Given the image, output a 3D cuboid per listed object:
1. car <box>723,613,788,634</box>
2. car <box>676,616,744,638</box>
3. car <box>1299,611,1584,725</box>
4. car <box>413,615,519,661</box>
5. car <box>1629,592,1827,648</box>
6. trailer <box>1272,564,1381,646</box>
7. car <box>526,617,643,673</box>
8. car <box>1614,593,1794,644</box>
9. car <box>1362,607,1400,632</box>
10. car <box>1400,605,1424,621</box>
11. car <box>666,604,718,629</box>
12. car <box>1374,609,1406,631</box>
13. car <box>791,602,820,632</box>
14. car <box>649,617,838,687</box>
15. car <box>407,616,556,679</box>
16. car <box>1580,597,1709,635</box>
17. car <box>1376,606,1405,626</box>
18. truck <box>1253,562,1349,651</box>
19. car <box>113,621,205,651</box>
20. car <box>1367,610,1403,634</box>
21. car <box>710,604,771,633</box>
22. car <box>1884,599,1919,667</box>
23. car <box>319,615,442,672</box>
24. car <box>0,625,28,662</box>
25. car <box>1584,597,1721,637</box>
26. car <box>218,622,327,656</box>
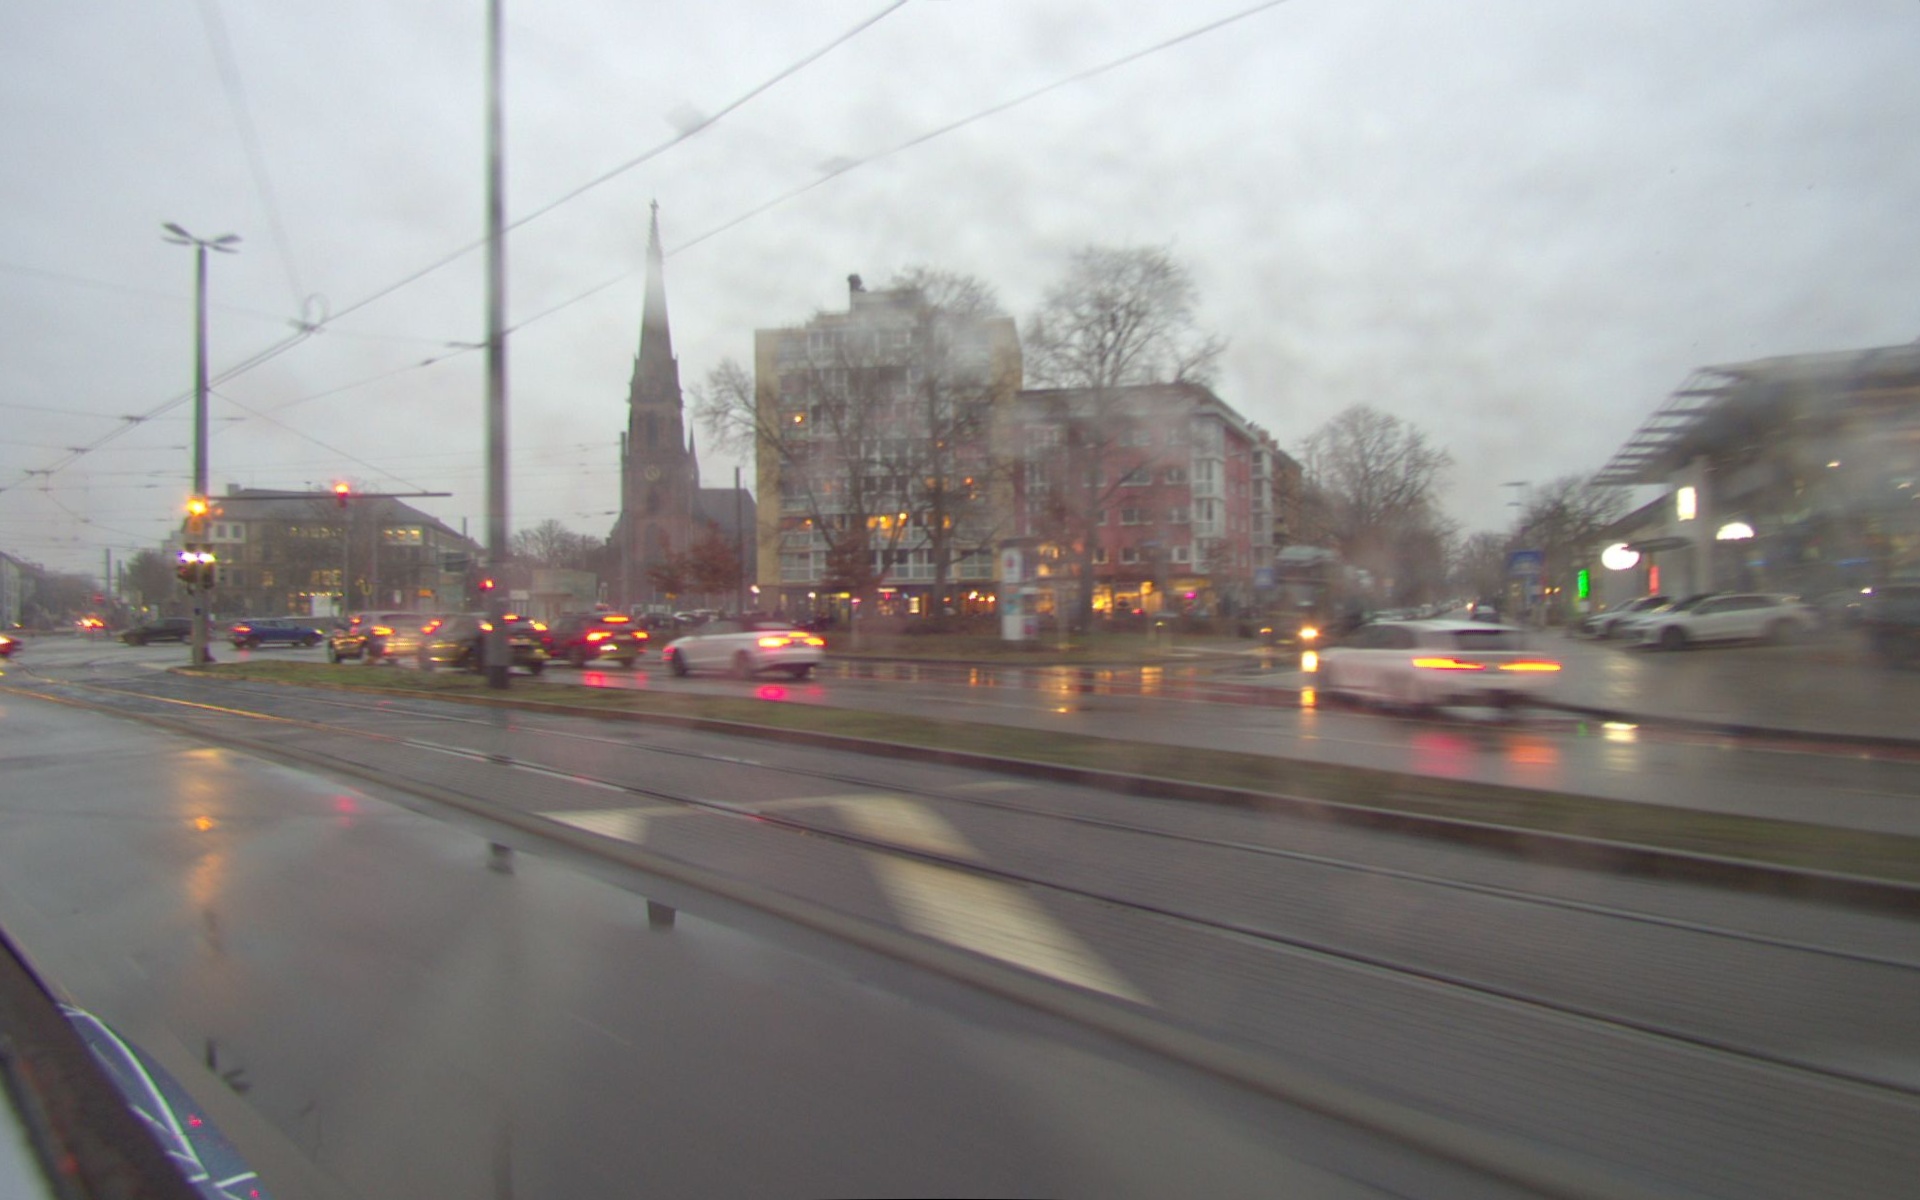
[{"bbox_3d":[-13.725,1.563,68.160,3.947,1.320,1.999,-1,0,3],"label":"car"},{"bbox_3d":[-16.251,1.727,65.870,3.947,1.320,1.999,-1,0,3],"label":"car"},{"bbox_3d":[7.415,0.956,16.278,1.970,1.508,4.815,-1,0,-4],"label":"car"},{"bbox_3d":[-16.194,1.205,33.118,3.998,1.368,1.706,-1,-1,41],"label":"car"},{"bbox_3d":[22.389,0.565,29.760,4.403,1.534,1.866,-1,0,30],"label":"car"},{"bbox_3d":[18.151,0.147,49.297,2.625,3.443,14.908,-1,0,29],"label":"trailer"},{"bbox_3d":[-10.423,1.206,28.005,3.470,1.429,1.583,-1,-1,42],"label":"car"},{"bbox_3d":[23.551,0.574,32.280,4.403,1.534,1.866,-1,0,30],"label":"car"},{"bbox_3d":[29.290,1.367,70.329,1.992,1.674,3.960,-1,-1,29],"label":"car"},{"bbox_3d":[48.699,1.413,109.010,1.961,1.674,3.960,-1,-1,29],"label":"car"},{"bbox_3d":[-22.928,1.402,86.531,3.931,2.029,2.007,-1,0,-25],"label":"car"},{"bbox_3d":[34.598,1.593,81.321,1.961,1.674,3.960,-1,-1,29],"label":"car"},{"bbox_3d":[-11.024,1.153,71.961,1.968,2.029,4.008,-1,0,-10],"label":"car"},{"bbox_3d":[-5.098,1.141,23.460,4.586,1.432,1.972,-1,-1,42],"label":"car"},{"bbox_3d":[-11.662,1.119,24.577,3.999,1.401,1.851,-1,-3,42],"label":"car"},{"bbox_3d":[29.142,0.682,43.271,4.403,1.534,1.866,-1,0,30],"label":"car"},{"bbox_3d":[37.888,1.410,89.033,1.961,1.674,3.960,-1,-1,29],"label":"car"},{"bbox_3d":[14.473,0.226,42.660,2.647,3.443,6.689,-1,0,29],"label":"truck"},{"bbox_3d":[-46.430,2.058,58.762,3.931,1.563,2.006,-1,0,-29],"label":"car"},{"bbox_3d":[31.367,1.597,74.643,1.992,1.674,3.960,-1,-1,29],"label":"car"},{"bbox_3d":[-15.953,1.343,73.740,3.947,2.029,1.999,-1,0,3],"label":"car"},{"bbox_3d":[20.970,0.704,20.219,1.725,1.409,4.278,-1,0,12],"label":"car"},{"bbox_3d":[-16.790,1.205,29.267,3.998,1.497,1.880,-1,-1,41],"label":"car"},{"bbox_3d":[-43.059,1.915,43.450,4.025,1.541,2.007,-1,0,-22],"label":"car"},{"bbox_3d":[27.939,0.673,41.015,4.403,1.534,1.866,-1,0,30],"label":"car"},{"bbox_3d":[-34.626,1.924,51.049,1.821,1.580,4.214,-1,0,35],"label":"car"}]
